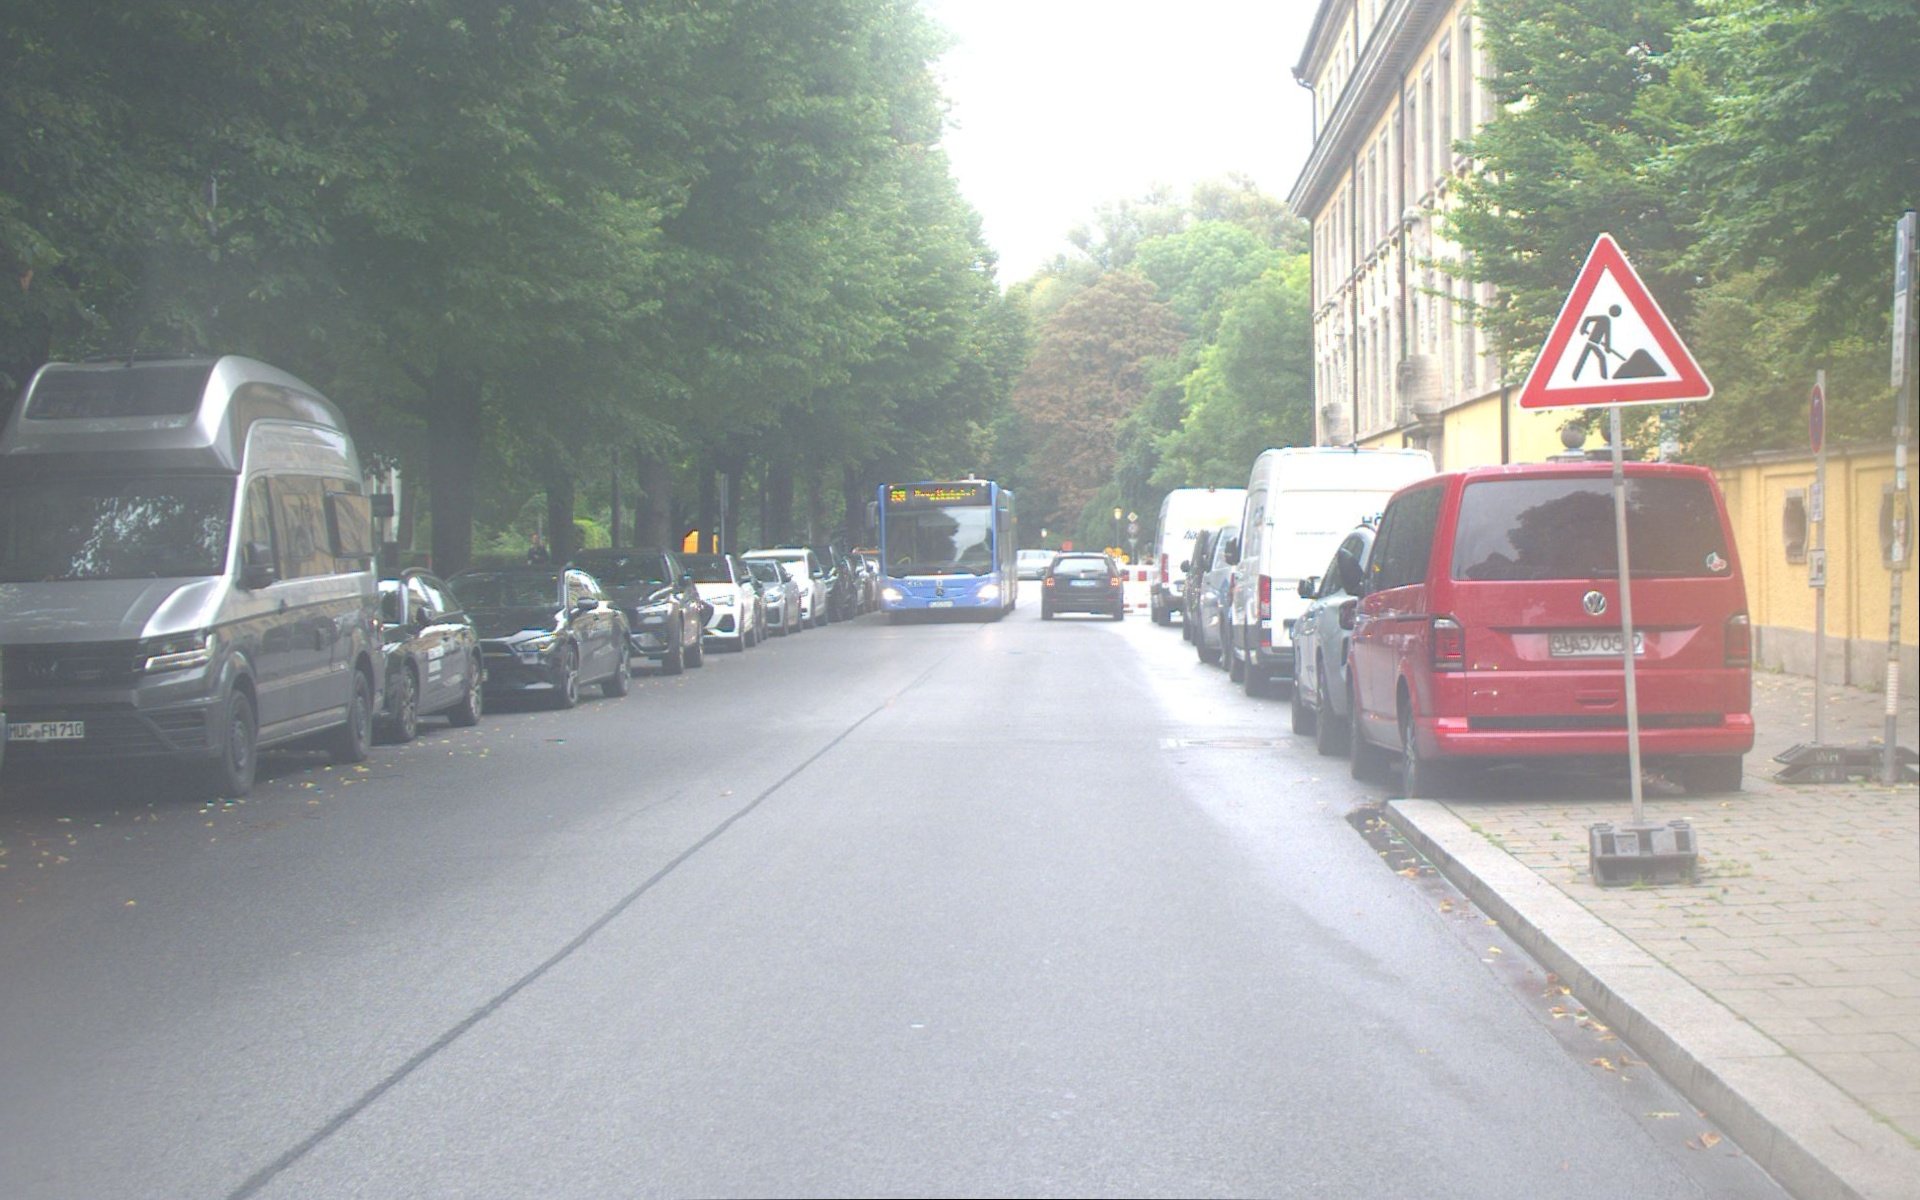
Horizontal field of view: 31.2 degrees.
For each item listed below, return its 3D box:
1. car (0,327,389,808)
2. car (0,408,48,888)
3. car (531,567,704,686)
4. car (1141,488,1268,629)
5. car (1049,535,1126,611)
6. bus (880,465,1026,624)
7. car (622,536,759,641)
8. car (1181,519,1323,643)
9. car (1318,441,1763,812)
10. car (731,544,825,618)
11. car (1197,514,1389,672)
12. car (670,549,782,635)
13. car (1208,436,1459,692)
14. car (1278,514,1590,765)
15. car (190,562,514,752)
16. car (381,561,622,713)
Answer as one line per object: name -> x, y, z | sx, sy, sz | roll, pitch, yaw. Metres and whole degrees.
car -> -5.457, -0.185, 23.571 | 1.945, 2.845, 6.236 | -1, 0, 1
car -> -5.765, 0.242, 14.903 | 2.114, 2.340, 5.408 | -1, 0, 1
car -> -4.397, 0.334, 44.600 | 1.790, 1.449, 3.949 | -1, 0, 1
car -> 4.862, -0.825, 69.356 | 2.054, 2.664, 7.614 | -1, 0, 1
car -> 2.770, -0.589, 73.863 | 1.577, 1.578, 4.044 | -1, 1, 3
bus -> 0.039, -1.129, 79.524 | 2.859, 3.228, 18.425 | -1, 0, 1
car -> -4.293, -0.199, 55.362 | 1.784, 1.592, 4.584 | -1, 0, 1
car -> 4.634, -0.312, 55.198 | 1.871, 1.862, 4.987 | -1, 0, 1
car -> 3.386, 0.144, 21.092 | 1.859, 1.961, 5.445 | -1, 0, 1
car -> -3.746, -0.396, 71.114 | 1.672, 1.464, 4.104 | -1, 0, 1
car -> 4.204, -0.119, 44.123 | 2.013, 1.900, 5.164 | 1, 1, 1
car -> -4.154, -0.161, 61.532 | 1.672, 1.464, 4.104 | -1, 0, 1
car -> 3.868, -0.350, 36.583 | 2.095, 2.479, 5.740 | -1, 0, 1
car -> 3.531, 0.246, 26.370 | 1.859, 1.735, 4.602 | 1, 1, 1
car -> -5.215, 0.439, 30.073 | 1.790, 1.433, 4.578 | -1, 1, 3
car -> -4.614, 0.357, 35.168 | 1.790, 1.433, 4.551 | -1, 0, 1
